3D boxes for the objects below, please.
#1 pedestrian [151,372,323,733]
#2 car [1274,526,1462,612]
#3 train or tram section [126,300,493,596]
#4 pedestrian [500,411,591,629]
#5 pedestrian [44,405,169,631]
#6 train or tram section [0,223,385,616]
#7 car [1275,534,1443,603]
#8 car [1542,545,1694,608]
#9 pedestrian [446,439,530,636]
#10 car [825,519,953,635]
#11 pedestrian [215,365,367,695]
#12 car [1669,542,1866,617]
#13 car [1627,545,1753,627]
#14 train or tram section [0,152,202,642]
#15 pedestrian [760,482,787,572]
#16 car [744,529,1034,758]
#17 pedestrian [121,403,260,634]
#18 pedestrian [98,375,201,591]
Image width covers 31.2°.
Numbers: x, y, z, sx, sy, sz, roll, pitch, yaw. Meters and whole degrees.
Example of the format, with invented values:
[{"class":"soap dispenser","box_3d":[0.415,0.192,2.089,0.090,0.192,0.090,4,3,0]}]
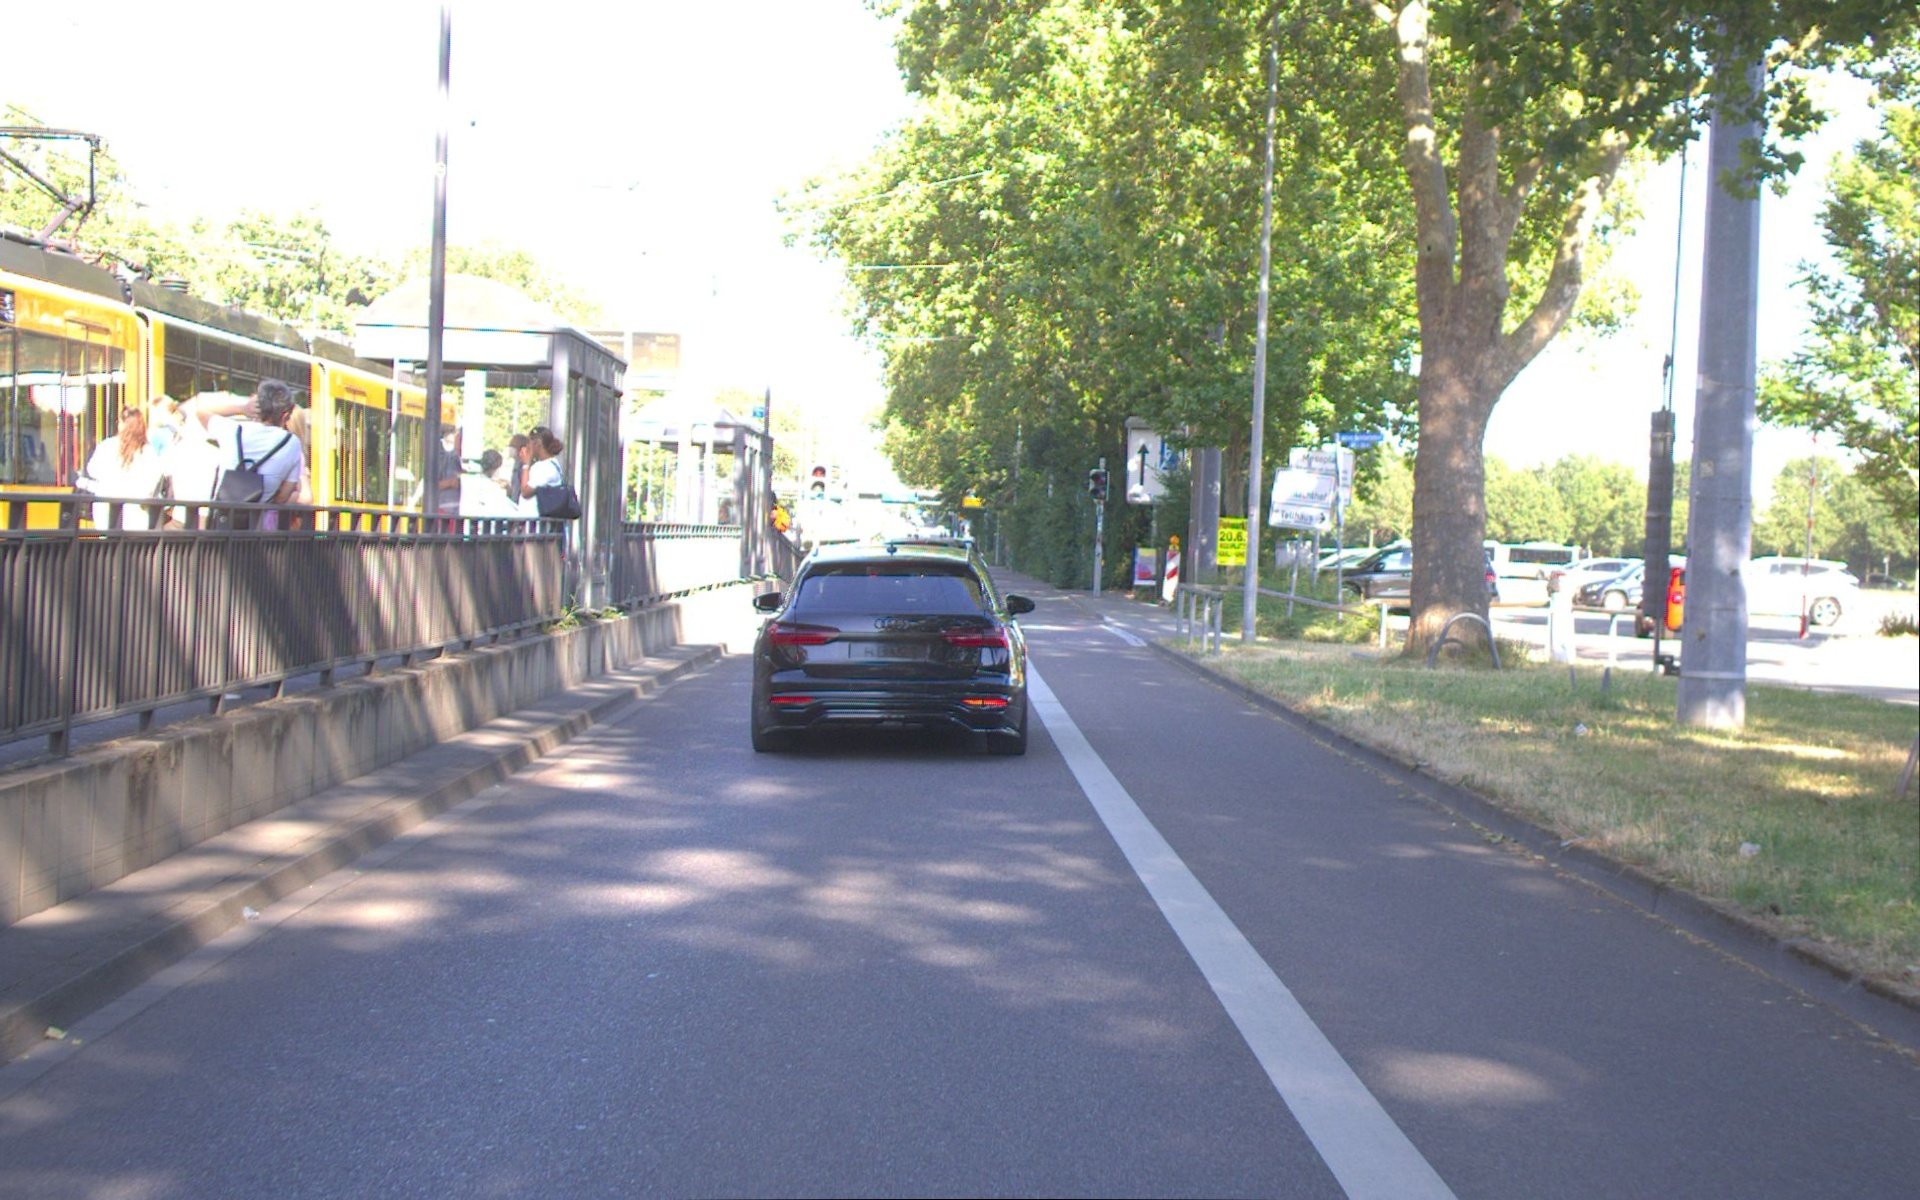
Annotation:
[{"class":"pedestrian","box_3d":[-3.443,-0.229,16.397,0.611,1.663,0.613,3,1,1]},{"class":"car","box_3d":[9.277,-0.713,78.413,3.987,1.758,1.833,3,1,0]},{"class":"train or tram section","box_3d":[-9.539,-2.167,52.049,3.309,3.816,11.844,3,1,-1]},{"class":"pedestrian","box_3d":[-3.460,-0.670,28.744,0.611,1.778,0.613,3,1,0]},{"class":"pedestrian","box_3d":[-6.926,-0.667,27.919,0.793,1.778,0.625,3,1,0]},{"class":"train or tram section","box_3d":[-9.365,-1.953,40.135,3.309,3.816,11.844,3,1,-1]},{"class":"car","box_3d":[9.830,-0.787,84.971,3.886,1.499,1.888,2,1,1]},{"class":"car","box_3d":[21.196,-0.774,110.872,4.351,1.809,2.000,2,1,-4]},{"class":"pedestrian","box_3d":[-4.360,-0.576,31.795,0.610,1.778,0.681,3,1,0]},{"class":"car","box_3d":[-1.119,-0.381,52.398,1.762,1.613,4.001,2,1,-3]},{"class":"pedestrian","box_3d":[-3.424,-0.358,17.571,0.611,1.636,0.614,2,1,-20]},{"class":"car","box_3d":[20.123,-0.516,85.798,4.459,1.653,1.917,3,1,4]},{"class":"car","box_3d":[14.548,-0.304,68.687,1.614,1.510,3.803,3,1,0]},{"class":"train or tram section","box_3d":[-9.171,-1.644,27.072,3.309,3.816,14.220,3,1,-1]},{"class":"pedestrian","box_3d":[-3.578,-1.404,65.992,0.412,1.711,0.666,3,1,-1]},{"class":"car","box_3d":[-0.548,0.253,24.129,1.878,1.452,3.357,1,2,-3]},{"class":"pedestrian","box_3d":[-6.078,-0.646,27.150,0.793,1.778,0.649,2,1,-40]},{"class":"pedestrian","box_3d":[-6.831,-0.982,28.993,0.611,1.778,0.775,3,1,0]}]
